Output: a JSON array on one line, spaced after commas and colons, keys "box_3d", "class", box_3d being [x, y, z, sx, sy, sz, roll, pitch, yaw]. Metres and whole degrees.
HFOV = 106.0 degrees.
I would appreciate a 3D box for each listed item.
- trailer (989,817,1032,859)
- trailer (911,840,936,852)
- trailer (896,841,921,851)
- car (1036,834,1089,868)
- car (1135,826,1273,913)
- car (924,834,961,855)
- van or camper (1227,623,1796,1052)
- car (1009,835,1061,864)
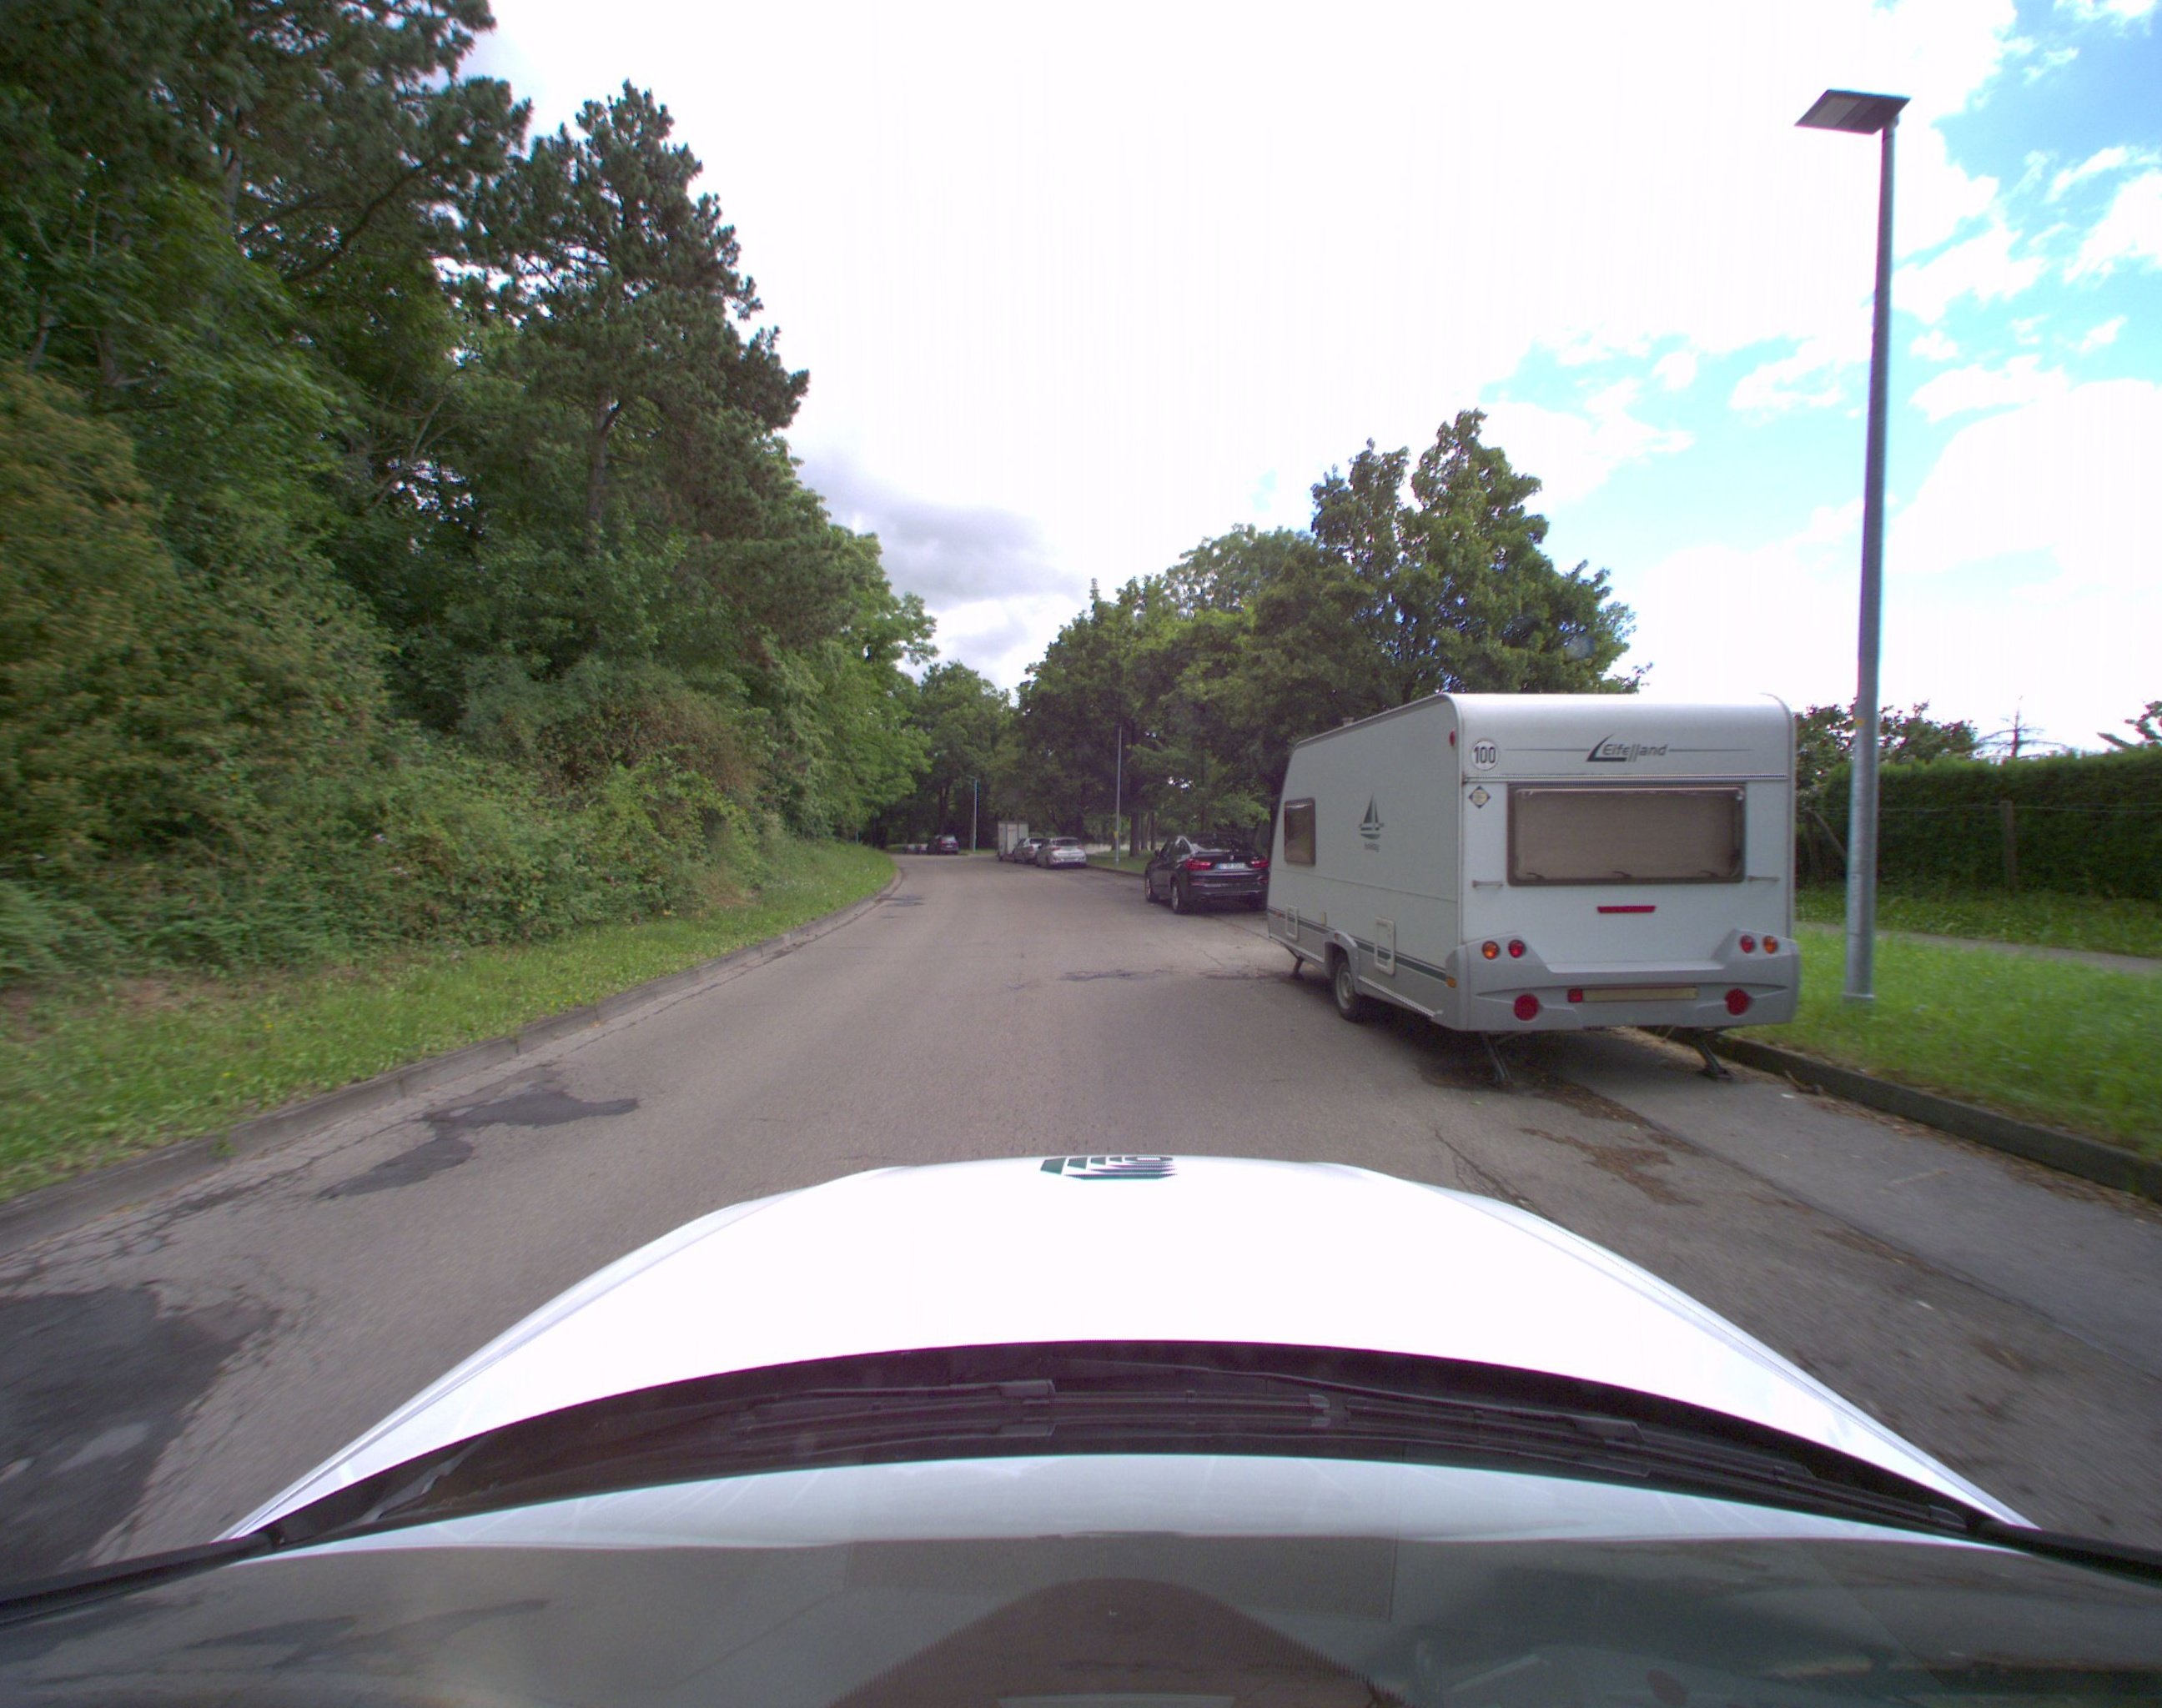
[{"box_3d": [-4.333, -0.940, 49.724, 1.766, 2.426, 3.863, -1, 1, -18], "class": "trailer"}, {"box_3d": [-14.151, -0.708, 72.909, 1.363, 0.969, 3.862, 1, 1, -24], "class": "trailer"}, {"box_3d": [-16.348, -0.747, 77.130, 1.372, 0.847, 3.248, 1, 1, -29], "class": "trailer"}, {"box_3d": [-0.918, -0.150, 38.126, 1.902, 1.476, 4.045, 1, 1, -10], "class": "car"}, {"box_3d": [2.529, 0.276, 17.944, 1.847, 1.643, 4.519, -1, 0, -7], "class": "car"}, {"box_3d": [-11.504, -0.791, 67.459, 1.784, 1.662, 4.801, 1, 1, -25], "class": "car"}, {"box_3d": [3.133, -0.095, 7.875, 2.156, 2.536, 6.026, 0, 0, -2], "class": "van or camper"}, {"box_3d": [-2.597, -0.278, 44.633, 1.746, 1.525, 4.609, 1, 1, -18], "class": "car"}]
